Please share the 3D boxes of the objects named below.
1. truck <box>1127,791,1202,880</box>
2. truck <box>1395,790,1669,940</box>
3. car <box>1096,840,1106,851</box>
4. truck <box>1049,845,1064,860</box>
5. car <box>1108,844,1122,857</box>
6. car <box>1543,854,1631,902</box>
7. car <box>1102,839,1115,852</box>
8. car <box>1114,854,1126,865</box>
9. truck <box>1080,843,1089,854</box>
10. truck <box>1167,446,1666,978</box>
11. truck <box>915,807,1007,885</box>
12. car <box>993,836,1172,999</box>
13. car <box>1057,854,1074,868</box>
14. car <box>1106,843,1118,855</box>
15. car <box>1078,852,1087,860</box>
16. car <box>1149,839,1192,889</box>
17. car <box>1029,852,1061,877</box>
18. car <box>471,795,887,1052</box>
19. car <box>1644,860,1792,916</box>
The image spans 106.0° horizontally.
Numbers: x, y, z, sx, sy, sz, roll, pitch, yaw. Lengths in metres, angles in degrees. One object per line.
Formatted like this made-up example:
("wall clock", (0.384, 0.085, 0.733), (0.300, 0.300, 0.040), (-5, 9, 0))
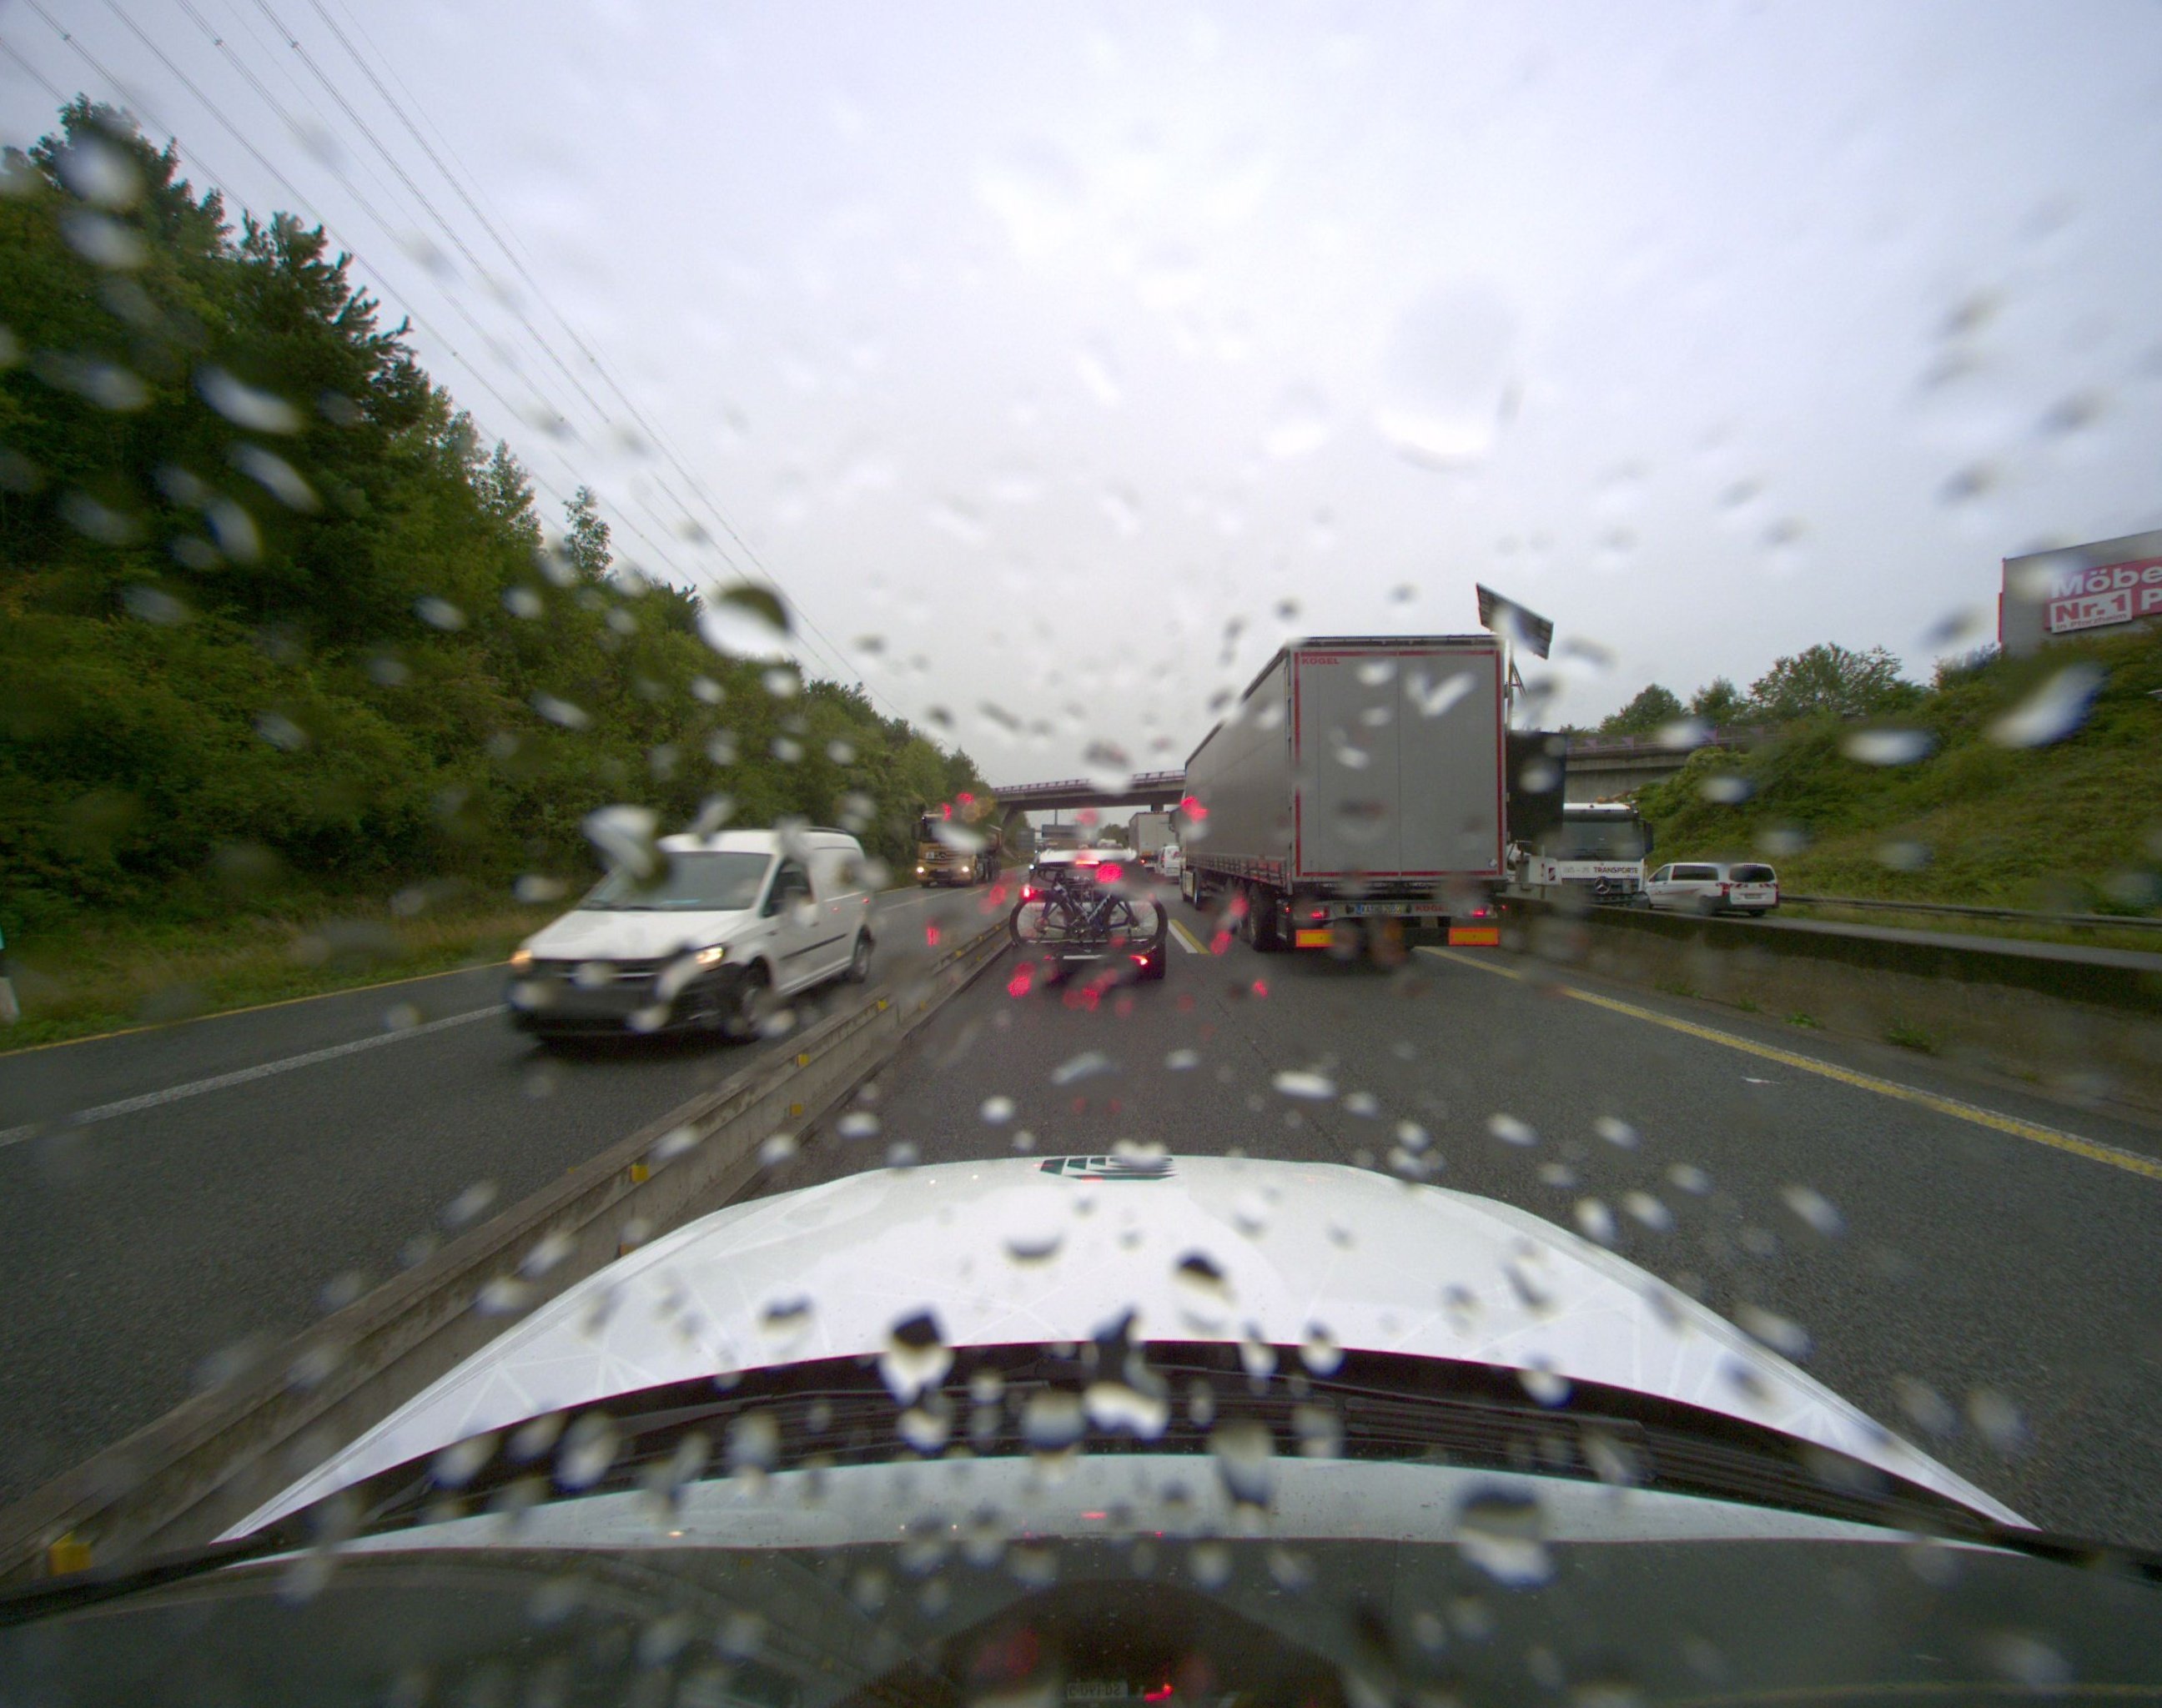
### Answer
("truck", (5.972, -1.138, 62.263), (4.723, 5.673, 20.394), (-1, 0, 3))
("truck", (11.235, 0.245, 21.680), (2.511, 3.131, 9.123), (-1, 0, 2))
("car", (4.080, -1.719, 165.345), (1.986, 2.126, 4.529), (-1, 0, 2))
("truck", (-6.007, -0.314, 202.158), (2.671, 3.656, 12.319), (-1, 0, 2))
("car", (5.260, -0.502, 125.767), (1.986, 2.014, 4.002), (-1, 0, 2))
("car", (23.213, 1.059, 37.554), (1.721, 2.058, 4.129), (-1, 0, 4))
("car", (5.101, -1.560, 149.718), (2.230, 2.307, 4.574), (-1, 0, 2))
("car", (5.421, 0.739, 112.537), (1.632, 1.497, 3.668), (-1, 0, 2))
("truck", (1.061, -1.652, 247.369), (2.525, 3.352, 12.053), (-1, 0, 1))
("truck", (4.660, -1.481, 18.933), (3.964, 5.673, 20.387), (-1, 0, 2))
("truck", (-5.691, -0.323, 41.046), (2.525, 3.352, 12.053), (-1, 0, 1))
("car", (0.150, 0.655, 10.547), (1.802, 1.637, 4.639), (-1, 0, 3))
("car", (-1.834, 0.786, 94.985), (1.803, 1.559, 3.991), (-1, 0, 1))
("car", (5.193, -0.811, 137.064), (1.986, 2.014, 4.002), (-1, 0, 2))
("car", (0.233, 0.434, 154.518), (1.680, 1.409, 3.930), (-1, 0, 1))
("car", (4.159, 0.440, 38.279), (1.663, 2.180, 4.537), (-1, 0, 2))
("car", (-2.111, 0.633, 48.491), (1.680, 1.409, 3.930), (-1, 0, 1))
("car", (-3.439, 0.504, 8.159), (1.804, 1.824, 4.635), (-1, 0, 1))
("car", (22.888, 1.158, 29.537), (1.934, 1.829, 4.732), (-1, 0, 4))
